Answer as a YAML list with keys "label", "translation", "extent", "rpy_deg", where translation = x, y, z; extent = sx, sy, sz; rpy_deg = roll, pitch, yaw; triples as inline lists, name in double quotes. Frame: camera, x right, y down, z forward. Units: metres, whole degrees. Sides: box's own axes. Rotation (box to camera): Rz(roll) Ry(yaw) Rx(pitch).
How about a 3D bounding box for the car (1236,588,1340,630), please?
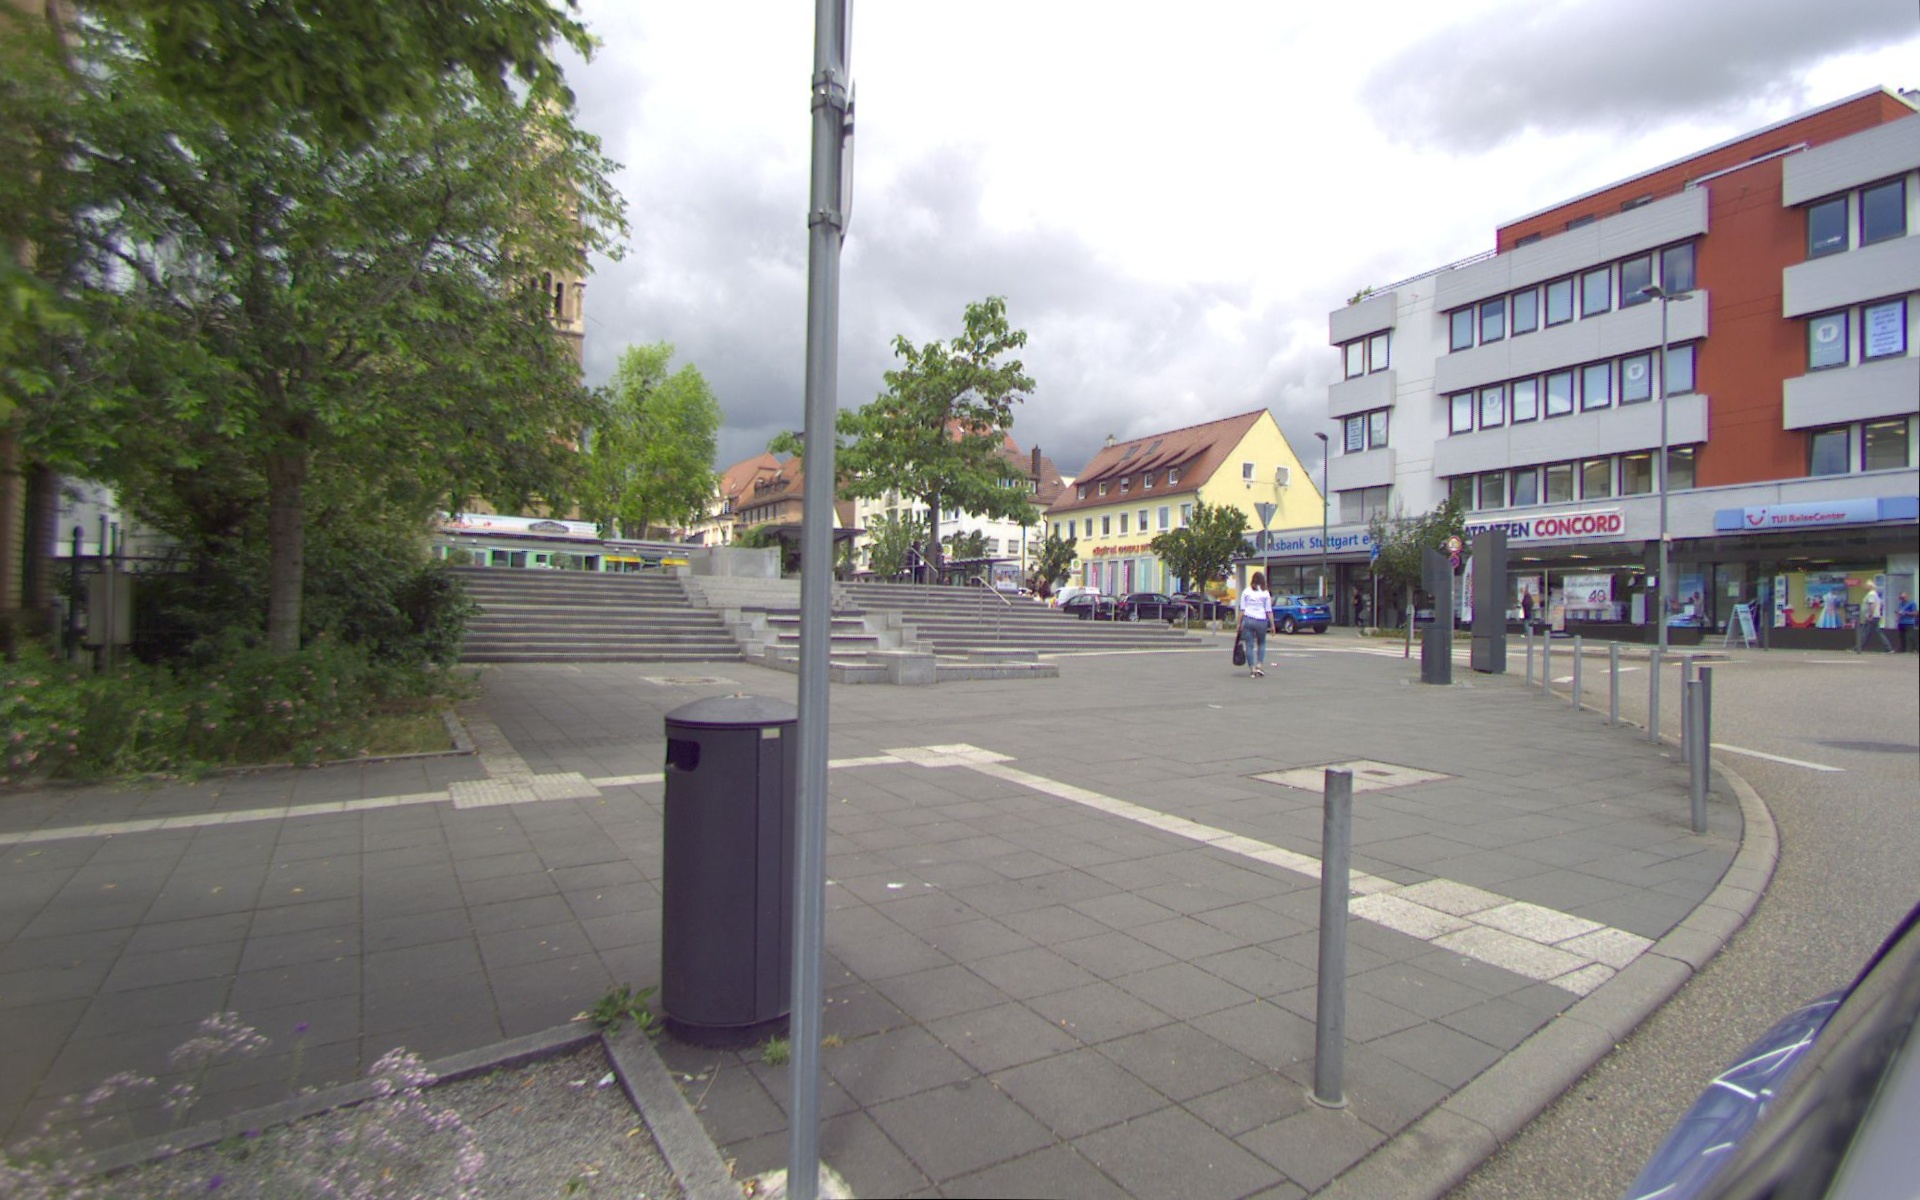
- label: "car"
  translation: [13.587, 0.324, 42.239]
  extent: [1.665, 1.619, 4.340]
  rpy_deg: [-1, 1, -24]

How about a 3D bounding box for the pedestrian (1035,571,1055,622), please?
- label: "pedestrian"
  translation: [3.184, -0.126, 37.790]
  extent: [0.530, 1.846, 0.436]
  rpy_deg: [4, -1, -18]

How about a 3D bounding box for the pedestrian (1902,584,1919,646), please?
- label: "pedestrian"
  translation: [25.663, 0.397, 27.024]
  extent: [0.600, 1.624, 0.563]
  rpy_deg: [0, -1, 26]

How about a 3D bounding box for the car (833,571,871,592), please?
- label: "car"
  translation: [-9.043, -1.561, 84.601]
  extent: [1.637, 1.667, 4.139]
  rpy_deg: [0, 1, -29]

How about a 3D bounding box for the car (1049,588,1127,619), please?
- label: "car"
  translation: [6.277, 0.147, 50.116]
  extent: [1.670, 1.437, 4.124]
  rpy_deg: [0, 1, -30]

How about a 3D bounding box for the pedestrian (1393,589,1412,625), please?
- label: "pedestrian"
  translation: [21.290, 0.344, 48.716]
  extent: [0.633, 1.727, 0.586]
  rpy_deg: [3, -3, -36]

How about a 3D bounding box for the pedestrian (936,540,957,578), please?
- label: "pedestrian"
  translation: [-0.630, -1.872, 46.098]
  extent: [0.783, 1.658, 0.688]
  rpy_deg: [2, 0, -12]

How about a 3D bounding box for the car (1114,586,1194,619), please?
- label: "car"
  translation: [10.060, 0.108, 52.649]
  extent: [3.663, 1.543, 1.897]
  rpy_deg: [1, 2, -1]

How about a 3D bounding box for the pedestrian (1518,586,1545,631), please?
- label: "pedestrian"
  translation: [20.616, 0.306, 36.515]
  extent: [0.577, 1.608, 0.639]
  rpy_deg: [0, 0, -31]

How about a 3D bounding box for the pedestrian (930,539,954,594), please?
- label: "pedestrian"
  translation: [-0.508, -0.939, 28.702]
  extent: [0.493, 1.528, 0.455]
  rpy_deg: [2, -1, -24]

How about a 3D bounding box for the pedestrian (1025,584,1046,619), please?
- label: "pedestrian"
  translation: [2.980, 0.058, 39.917]
  extent: [0.595, 1.320, 0.428]
  rpy_deg: [3, -1, 31]

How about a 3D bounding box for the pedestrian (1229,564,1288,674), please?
- label: "pedestrian"
  translation: [4.993, 0.304, 16.913]
  extent: [0.703, 1.768, 0.766]
  rpy_deg: [1, 0, 36]

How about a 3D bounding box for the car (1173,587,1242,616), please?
- label: "car"
  translation: [14.043, 0.059, 57.391]
  extent: [3.565, 1.578, 1.671]
  rpy_deg: [1, 1, -28]

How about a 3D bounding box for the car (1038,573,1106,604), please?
- label: "car"
  translation: [6.784, -0.708, 61.809]
  extent: [1.727, 1.836, 4.480]
  rpy_deg: [0, 1, -32]

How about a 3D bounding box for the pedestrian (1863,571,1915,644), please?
- label: "pedestrian"
  translation: [24.565, 0.201, 26.775]
  extent: [0.789, 1.899, 0.682]
  rpy_deg: [1, 0, -13]

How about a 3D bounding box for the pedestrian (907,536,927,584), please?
- label: "pedestrian"
  translation: [-1.207, -1.121, 28.324]
  extent: [0.356, 1.302, 0.642]
  rpy_deg: [2, -1, -21]

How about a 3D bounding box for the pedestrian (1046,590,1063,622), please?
- label: "pedestrian"
  translation: [3.591, 0.234, 38.359]
  extent: [0.466, 1.187, 0.391]
  rpy_deg: [4, -1, -22]

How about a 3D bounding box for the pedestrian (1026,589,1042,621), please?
- label: "pedestrian"
  translation: [2.736, 0.169, 37.437]
  extent: [0.431, 1.163, 0.384]
  rpy_deg: [3, -1, -23]

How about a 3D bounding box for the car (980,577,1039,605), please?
- label: "car"
  translation: [3.037, -0.583, 62.996]
  extent: [1.628, 1.693, 4.356]
  rpy_deg: [0, 1, -29]
